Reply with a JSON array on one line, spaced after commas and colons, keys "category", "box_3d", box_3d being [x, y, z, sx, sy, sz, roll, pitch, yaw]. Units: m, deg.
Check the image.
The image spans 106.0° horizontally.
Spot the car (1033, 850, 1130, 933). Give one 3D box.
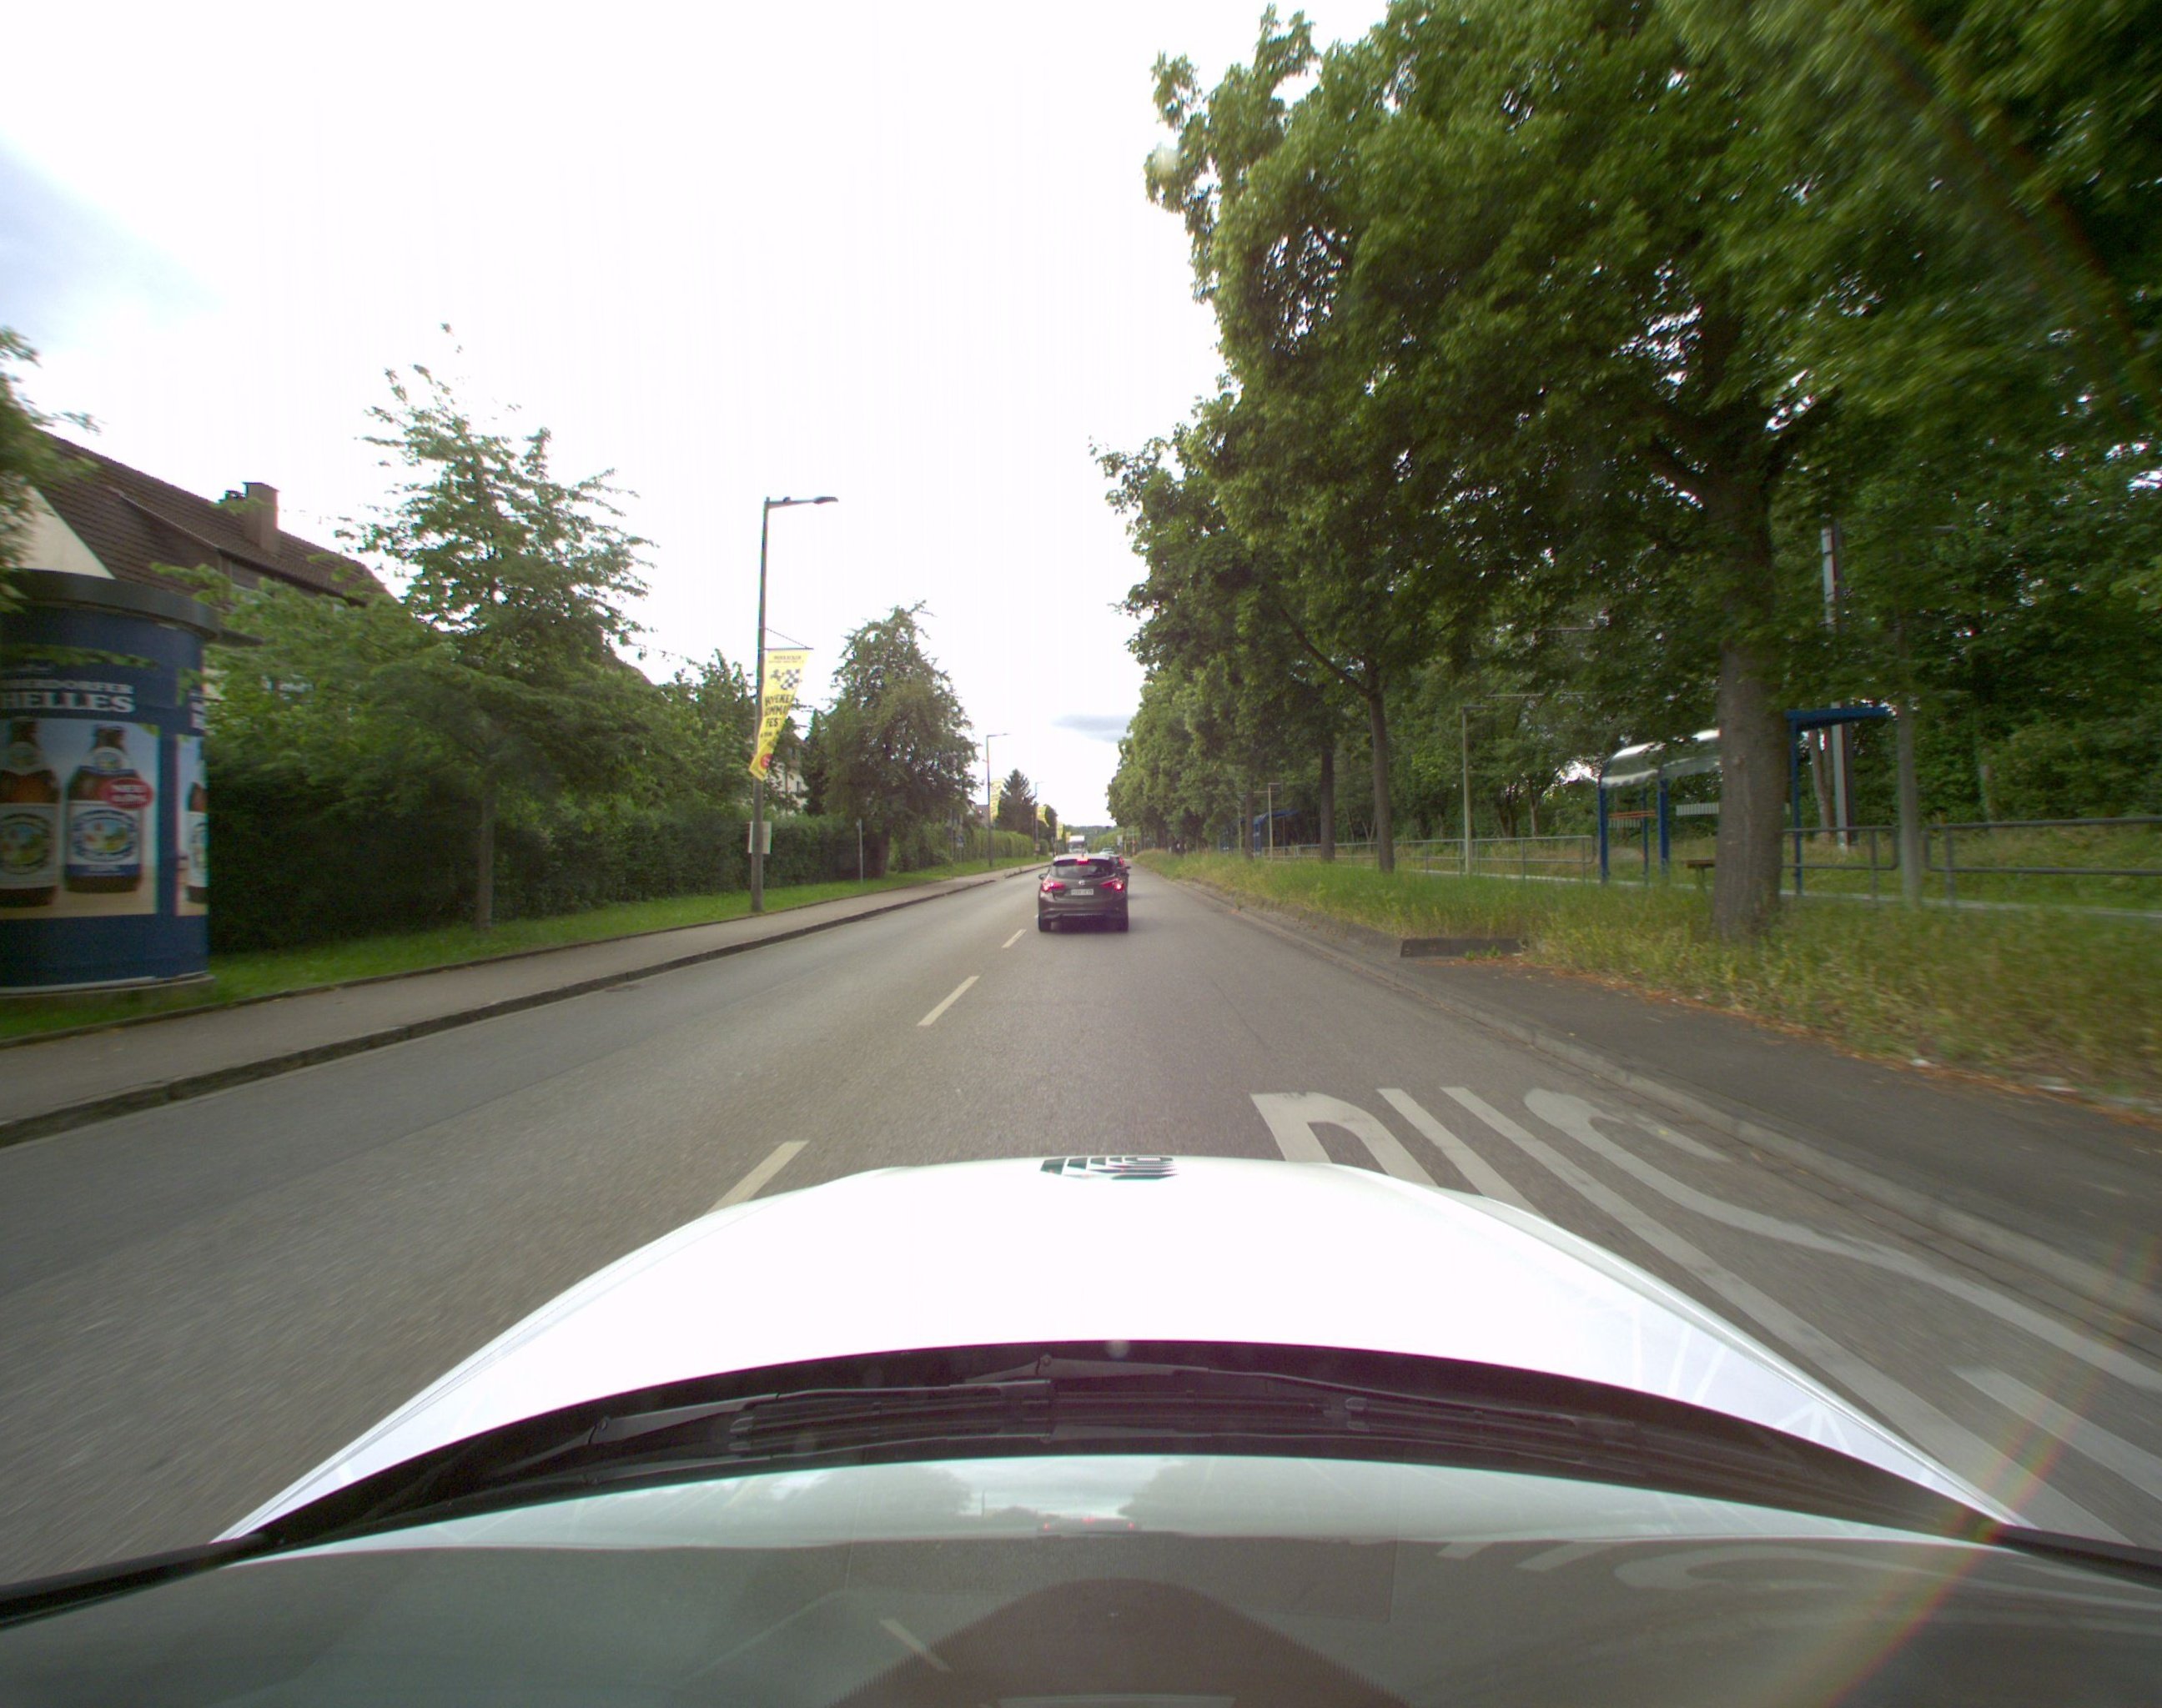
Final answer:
[{"category": "car", "box_3d": [0.076, 0.720, 17.105, 1.777, 1.507, 3.697, -2, -1, 2]}]

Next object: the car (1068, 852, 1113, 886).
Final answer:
[{"category": "car", "box_3d": [0.501, 0.702, 38.579, 1.986, 1.486, 4.001, 1, -1, 2]}]

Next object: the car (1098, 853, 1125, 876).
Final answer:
[{"category": "car", "box_3d": [1.954, 0.654, 53.270, 1.685, 1.441, 3.542, -1, 0, 1]}]

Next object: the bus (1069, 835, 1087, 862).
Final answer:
[{"category": "bus", "box_3d": [-0.404, -0.844, 128.125, 2.478, 4.025, 10.220, -1, 0, 2]}]

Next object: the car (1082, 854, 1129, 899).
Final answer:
[{"category": "car", "box_3d": [0.831, 0.725, 27.966, 1.496, 1.441, 3.542, -1, 0, 1]}]

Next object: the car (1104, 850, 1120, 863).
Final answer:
[{"category": "car", "box_3d": [3.478, 0.251, 92.090, 1.685, 1.441, 3.542, -1, 0, 1]}]
